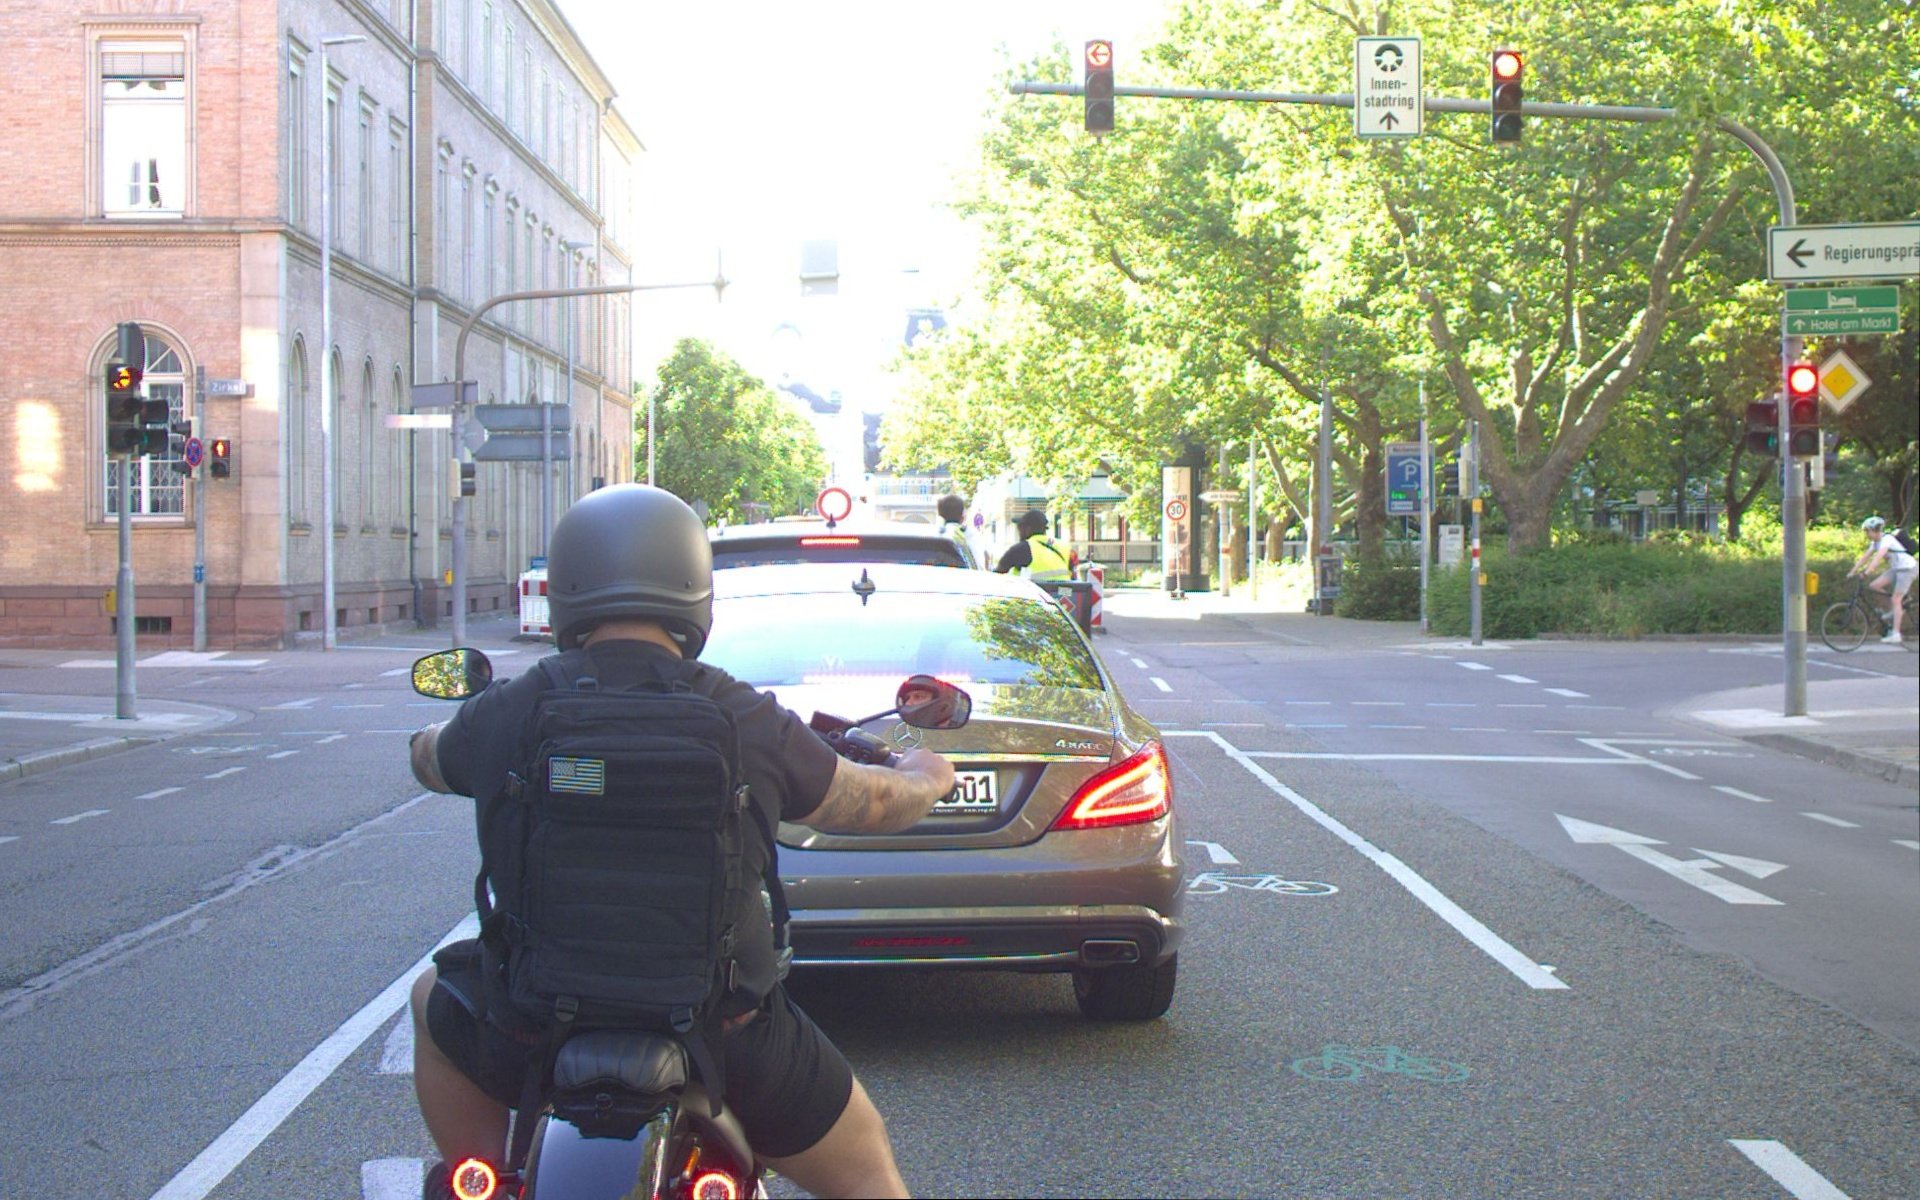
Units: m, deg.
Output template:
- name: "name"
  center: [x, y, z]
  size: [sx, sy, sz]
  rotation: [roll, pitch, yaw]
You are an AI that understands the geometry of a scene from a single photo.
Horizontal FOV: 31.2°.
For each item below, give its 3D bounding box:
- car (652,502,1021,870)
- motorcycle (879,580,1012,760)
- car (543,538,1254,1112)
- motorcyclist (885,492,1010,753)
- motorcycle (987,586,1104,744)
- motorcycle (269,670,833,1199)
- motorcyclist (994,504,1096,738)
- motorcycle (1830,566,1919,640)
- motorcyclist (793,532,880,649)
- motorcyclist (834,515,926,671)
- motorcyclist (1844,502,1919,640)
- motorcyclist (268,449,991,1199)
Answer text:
- name: "car"
  center: [-0.581, 0.370, 17.602]
  size: [1.651, 1.646, 4.000]
  rotation: [1, 1, -1]
- name: "motorcycle"
  center: [-0.107, 0.457, 23.669]
  size: [0.863, 1.164, 1.930]
  rotation: [1, 1, -1]
- name: "car"
  center: [-0.410, 0.568, 11.135]
  size: [1.824, 1.481, 4.334]
  rotation: [1, 1, -7]
- name: "motorcyclist"
  center: [-0.092, 0.152, 24.050]
  size: [0.831, 1.782, 0.913]
  rotation: [1, 0, -1]
- name: "motorcycle"
  center: [0.630, 0.467, 26.071]
  size: [0.797, 1.128, 2.236]
  rotation: [1, 1, -1]
- name: "motorcycle"
  center: [-0.566, 0.765, 5.429]
  size: [0.660, 1.236, 2.058]
  rotation: [1, 1, -1]
- name: "motorcyclist"
  center: [0.640, 0.154, 26.098]
  size: [0.717, 1.737, 0.751]
  rotation: [1, 0, -1]
- name: "motorcycle"
  center: [12.766, 0.045, 46.860]
  size: [1.719, 0.998, 0.416]
  rotation: [0, 1, 4]
- name: "motorcyclist"
  center: [-1.639, -0.122, 45.566]
  size: [0.940, 1.532, 0.645]
  rotation: [0, 1, -44]
- name: "motorcyclist"
  center: [-0.891, -0.081, 38.490]
  size: [0.985, 1.716, 0.551]
  rotation: [1, 0, 0]
- name: "motorcyclist"
  center: [12.578, -0.394, 46.839]
  size: [0.983, 1.870, 0.376]
  rotation: [0, 0, 4]
- name: "motorcyclist"
  center: [-0.469, 0.595, 5.335]
  size: [0.990, 1.605, 1.120]
  rotation: [1, 0, -1]
